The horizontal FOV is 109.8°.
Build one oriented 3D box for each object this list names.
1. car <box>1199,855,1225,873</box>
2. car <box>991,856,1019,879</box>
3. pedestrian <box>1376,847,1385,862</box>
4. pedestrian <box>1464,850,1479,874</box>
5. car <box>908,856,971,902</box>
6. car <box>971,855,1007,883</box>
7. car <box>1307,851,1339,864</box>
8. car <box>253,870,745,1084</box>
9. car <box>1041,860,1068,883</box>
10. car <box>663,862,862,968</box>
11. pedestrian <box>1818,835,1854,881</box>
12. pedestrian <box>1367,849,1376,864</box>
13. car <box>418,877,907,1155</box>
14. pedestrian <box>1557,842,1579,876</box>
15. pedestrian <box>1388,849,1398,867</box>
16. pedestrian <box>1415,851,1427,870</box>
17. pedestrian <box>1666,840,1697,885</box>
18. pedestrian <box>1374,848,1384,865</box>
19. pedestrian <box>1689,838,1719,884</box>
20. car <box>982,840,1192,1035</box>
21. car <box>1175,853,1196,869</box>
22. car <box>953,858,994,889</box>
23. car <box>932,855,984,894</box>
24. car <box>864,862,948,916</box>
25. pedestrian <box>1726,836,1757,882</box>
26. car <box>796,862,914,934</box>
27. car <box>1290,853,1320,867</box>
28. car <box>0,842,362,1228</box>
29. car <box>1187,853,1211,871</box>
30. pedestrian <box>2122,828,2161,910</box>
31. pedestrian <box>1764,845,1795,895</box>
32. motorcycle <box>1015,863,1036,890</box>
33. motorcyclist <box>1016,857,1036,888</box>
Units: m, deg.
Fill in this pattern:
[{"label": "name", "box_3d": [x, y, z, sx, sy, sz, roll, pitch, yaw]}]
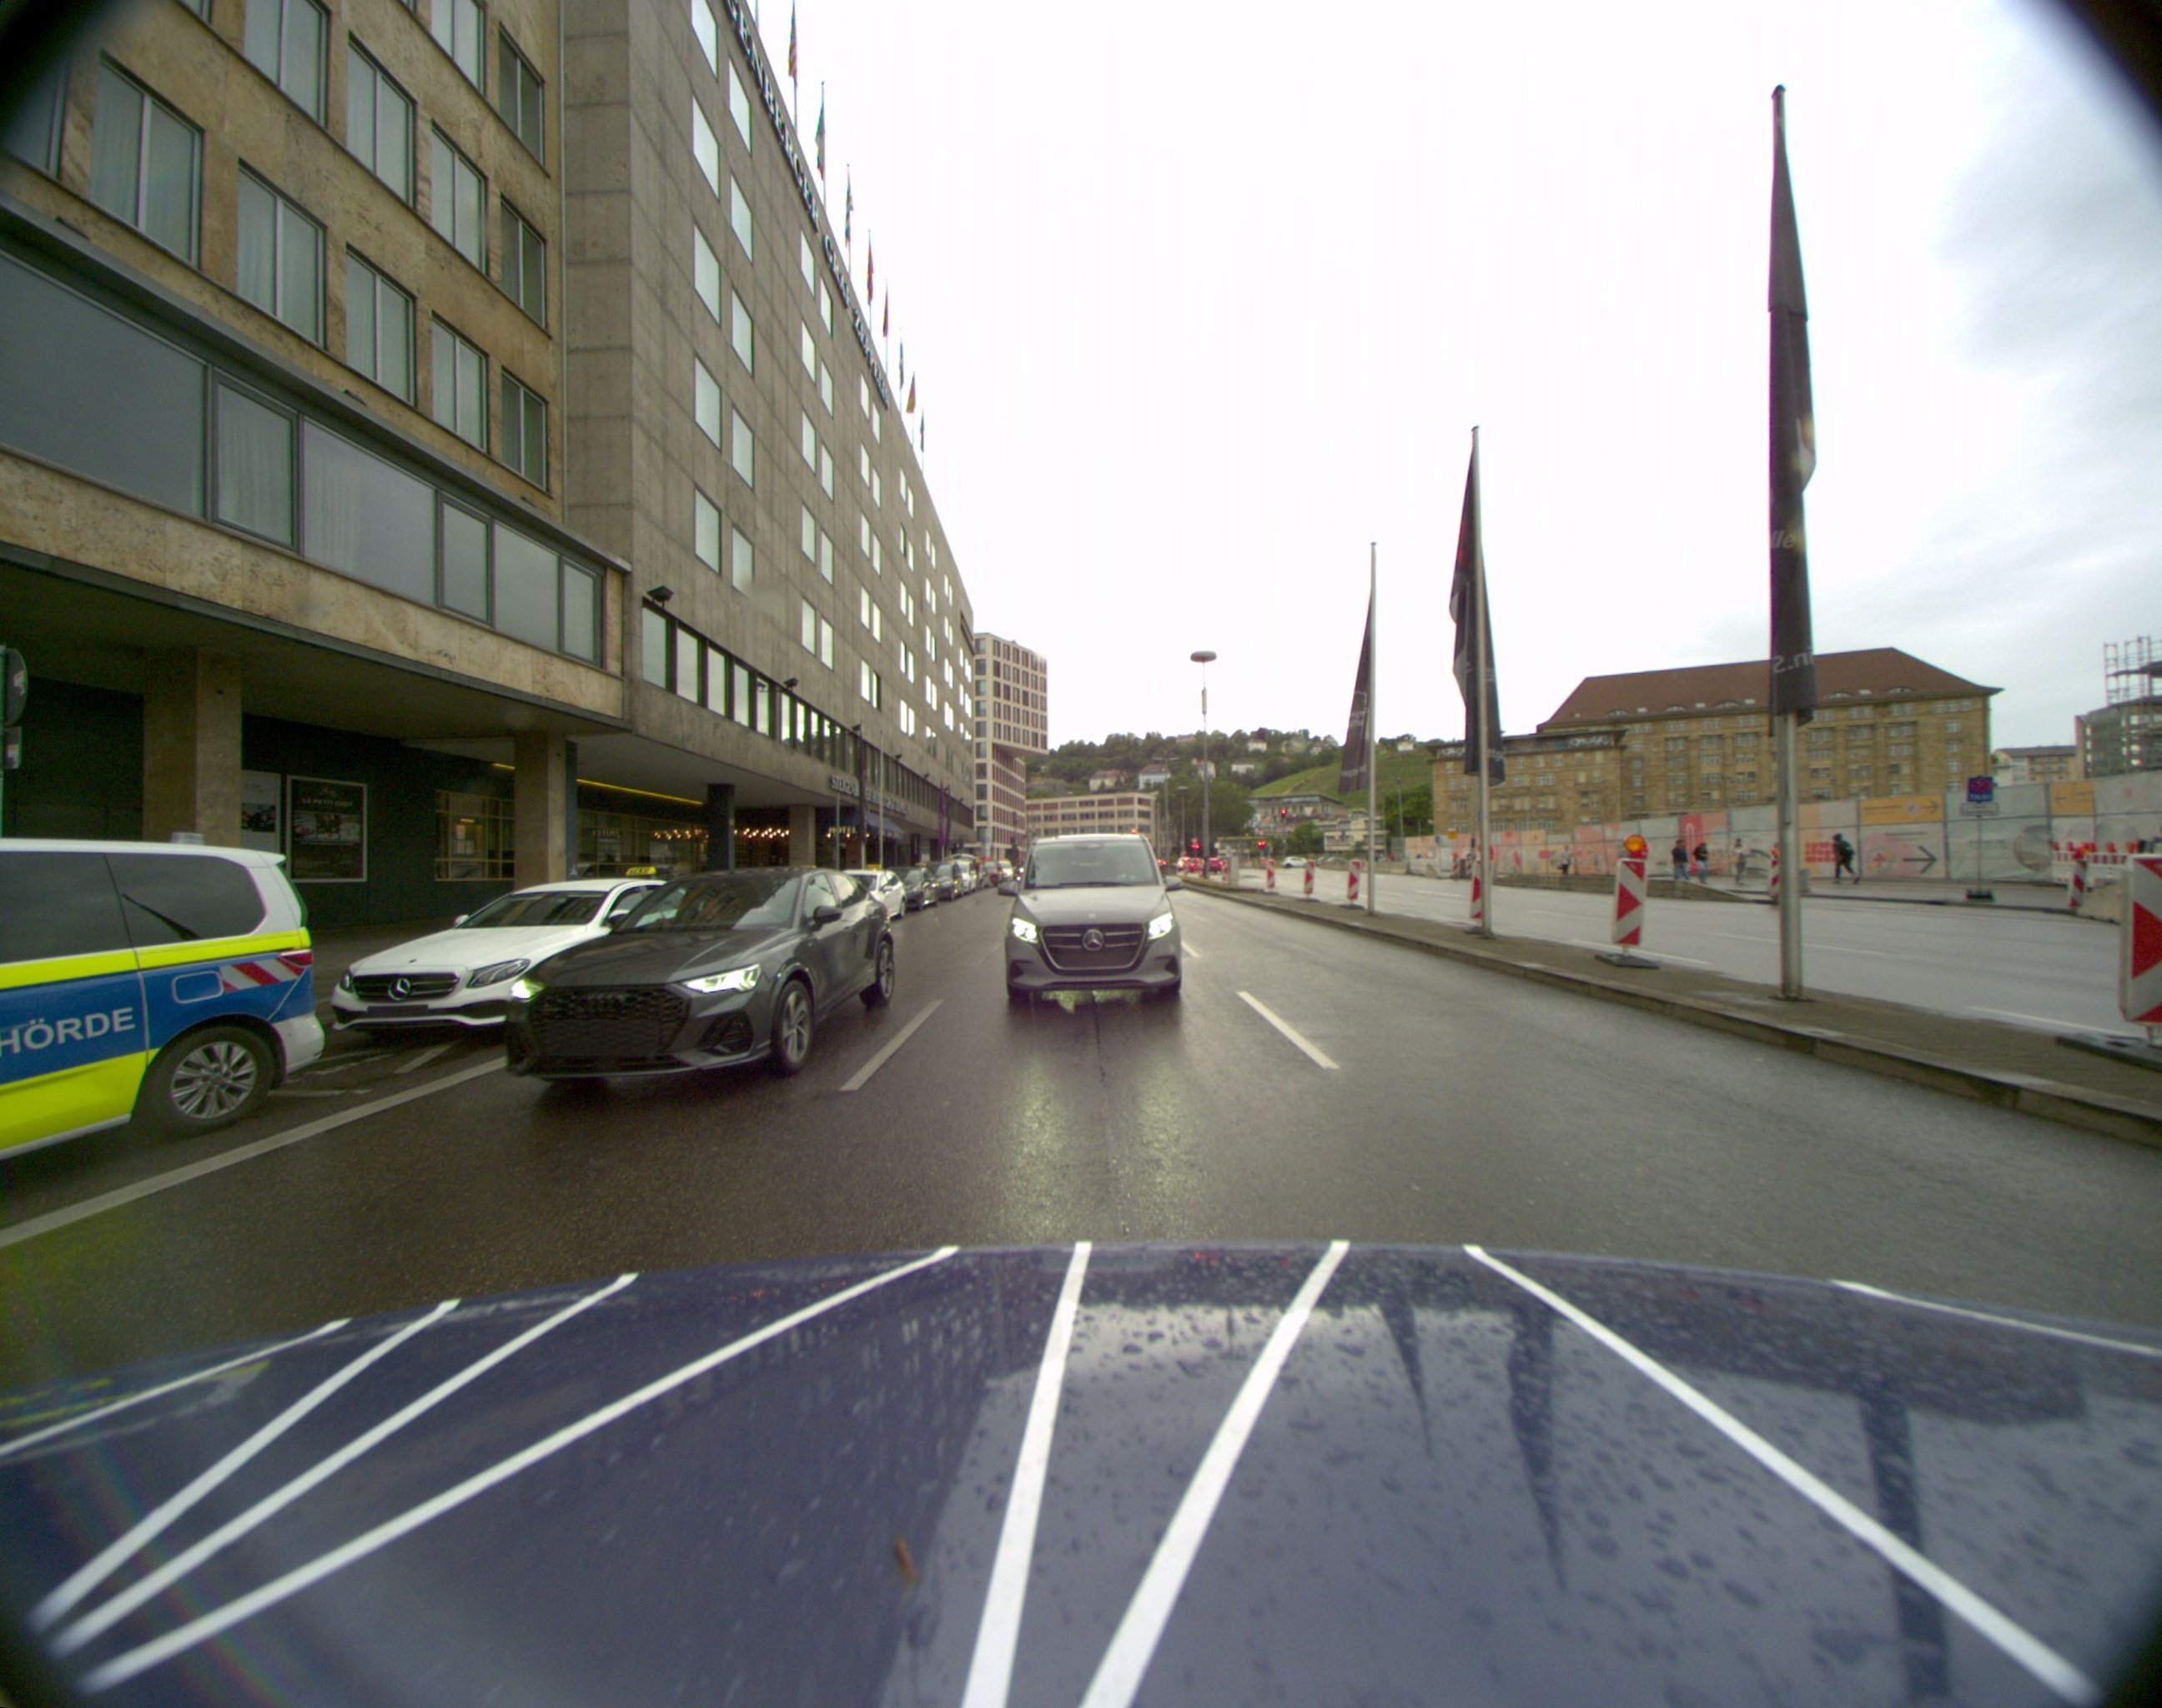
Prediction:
[{"label": "car", "box_3d": [12.414, 0.926, 72.363, 1.785, 1.684, 3.916, -1, 0, 0]}, {"label": "car", "box_3d": [-5.893, 1.004, 59.148, 1.731, 1.604, 4.001, -2, 1, 0]}, {"label": "pedestrian", "box_3d": [33.133, 0.032, 84.086, 0.715, 1.606, 0.544, -2, 1, 1]}, {"label": "pedestrian", "box_3d": [26.812, 0.534, 52.209, 0.715, 1.606, 0.544, -2, 1, 1]}, {"label": "car", "box_3d": [-6.043, 1.018, 32.945, 1.731, 1.732, 4.814, -2, 0, 0]}, {"label": "car", "box_3d": [-5.862, 0.946, 48.828, 1.731, 1.604, 4.001, -2, 1, 0]}, {"label": "car", "box_3d": [32.718, 0.509, 102.721, 3.993, 1.622, 2.002, -1, 0, 14]}, {"label": "car", "box_3d": [-6.086, 1.106, 9.009, 1.879, 1.628, 5.010, -2, 0, 0]}, {"label": "car", "box_3d": [-1.981, 1.256, 55.821, 1.869, 1.461, 3.999, -2, 0, -3]}, {"label": "car", "box_3d": [-6.068, 1.059, 15.231, 1.879, 1.628, 4.814, -2, 0, 0]}, {"label": "pedestrian", "box_3d": [27.048, 0.147, 27.226, 0.715, 1.606, 0.544, -2, 1, 1]}, {"label": "pedestrian", "box_3d": [30.203, 0.262, 79.013, 0.715, 1.606, 0.544, -2, 1, 1]}, {"label": "car", "box_3d": [-3.084, 1.072, 6.865, 1.883, 1.493, 4.342, -2, 0, 1]}, {"label": "pedestrian", "box_3d": [26.219, 0.267, 40.886, 0.664, 1.825, 0.720, -2, 1, 1]}, {"label": "pedestrian", "box_3d": [29.268, 0.367, 71.314, 0.715, 1.606, 0.544, -2, 1, 1]}, {"label": "pedestrian", "box_3d": [29.173, 0.584, 65.235, 0.715, 1.606, 0.544, -2, 1, 1]}, {"label": "pedestrian", "box_3d": [23.623, 0.335, 29.908, 0.714, 1.723, 0.718, -2, 1, 19]}, {"label": "pedestrian", "box_3d": [28.418, 0.269, 72.500, 0.715, 1.606, 0.544, -2, 1, 1]}, {"label": "pedestrian", "box_3d": [25.049, 0.280, 30.562, 0.714, 1.825, 0.718, -2, 1, 19]}, {"label": "car", "box_3d": [0.100, 0.804, 10.055, 1.998, 1.849, 5.160, -2, 0, 1]}, {"label": "car", "box_3d": [11.842, 0.800, 86.287, 1.785, 1.684, 3.916, -2, 1, -1]}, {"label": "car", "box_3d": [-6.116, 1.094, 43.649, 1.731, 1.604, 4.001, -2, 1, 0]}, {"label": "car", "box_3d": [-6.081, 0.982, 38.142, 1.731, 1.732, 4.814, -2, 0, 0]}, {"label": "car", "box_3d": [-6.036, 1.138, 26.773, 1.731, 1.583, 4.814, -2, 0, 0]}, {"label": "pedestrian", "box_3d": [25.428, 0.203, 29.242, 0.714, 1.734, 0.564, -2, 1, 21]}, {"label": "car", "box_3d": [-6.034, 1.104, 20.959, 1.731, 1.583, 4.814, -2, 0, 0]}, {"label": "car", "box_3d": [34.670, 0.913, 117.700, 4.194, 1.846, 1.832, -2, 1, 6]}, {"label": "car", "box_3d": [-6.316, 0.935, 3.145, 1.879, 1.909, 4.935, -2, 0, 0]}, {"label": "car", "box_3d": [12.327, 0.829, 79.782, 1.785, 1.684, 3.916, -2, 1, -1]}, {"label": "pedestrian", "box_3d": [24.482, 0.336, 17.280, 0.587, 1.825, 0.717, -2, 1, 1]}, {"label": "pedestrian", "box_3d": [26.098, 0.603, 28.393, 0.661, 1.825, 0.556, -2, 1, 21]}, {"label": "motorcycle", "box_3d": [-2.865, 1.130, 39.419, 0.848, 1.299, 1.965, -2, 1, 1]}, {"label": "motorcyclist", "box_3d": [-2.849, 0.953, 39.413, 0.861, 1.519, 0.844, -2, 1, 1]}]
